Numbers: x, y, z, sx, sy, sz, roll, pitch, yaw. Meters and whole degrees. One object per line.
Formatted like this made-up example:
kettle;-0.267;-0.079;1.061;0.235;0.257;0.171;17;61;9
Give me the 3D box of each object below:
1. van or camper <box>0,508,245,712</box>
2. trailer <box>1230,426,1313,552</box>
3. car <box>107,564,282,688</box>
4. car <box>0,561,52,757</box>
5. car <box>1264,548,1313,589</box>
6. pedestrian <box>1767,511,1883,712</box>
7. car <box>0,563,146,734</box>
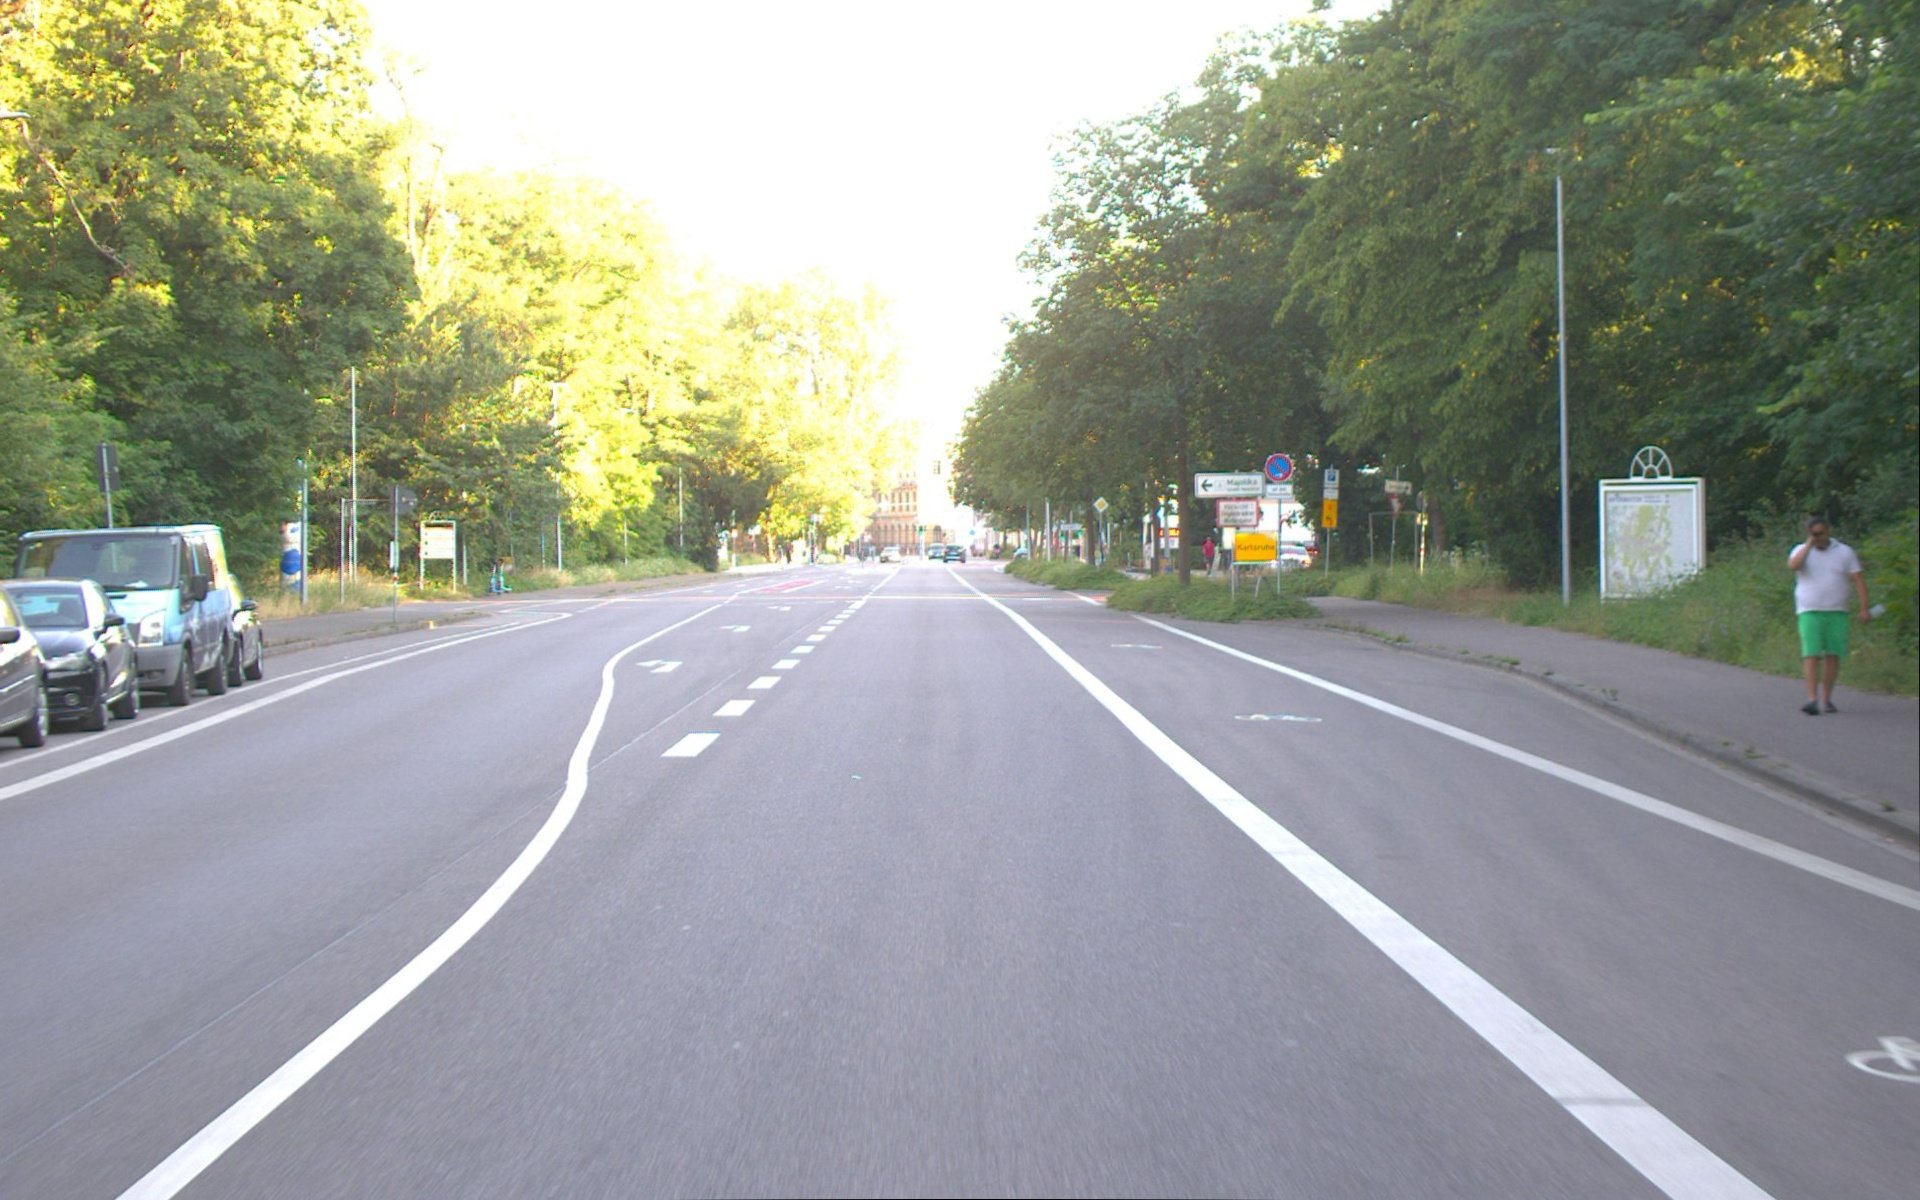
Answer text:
van or camper;-9.436;0.068;38.665;2.031;2.087;5.015;-2;1;-4
trailer;13.759;-4.866;152.471;3.020;5.443;7.934;0;1;0
car;-9.885;0.298;44.656;1.686;1.457;4.244;-2;1;-6
car;-8.395;0.487;27.304;1.616;1.529;4.041;-2;1;-6
car;13.344;-1.287;139.804;1.770;1.578;4.818;1;1;3
pedestrian;7.602;0.091;30.251;0.838;1.745;0.726;0;1;0
car;-8.801;0.429;32.752;1.542;1.488;3.973;-2;1;-7
